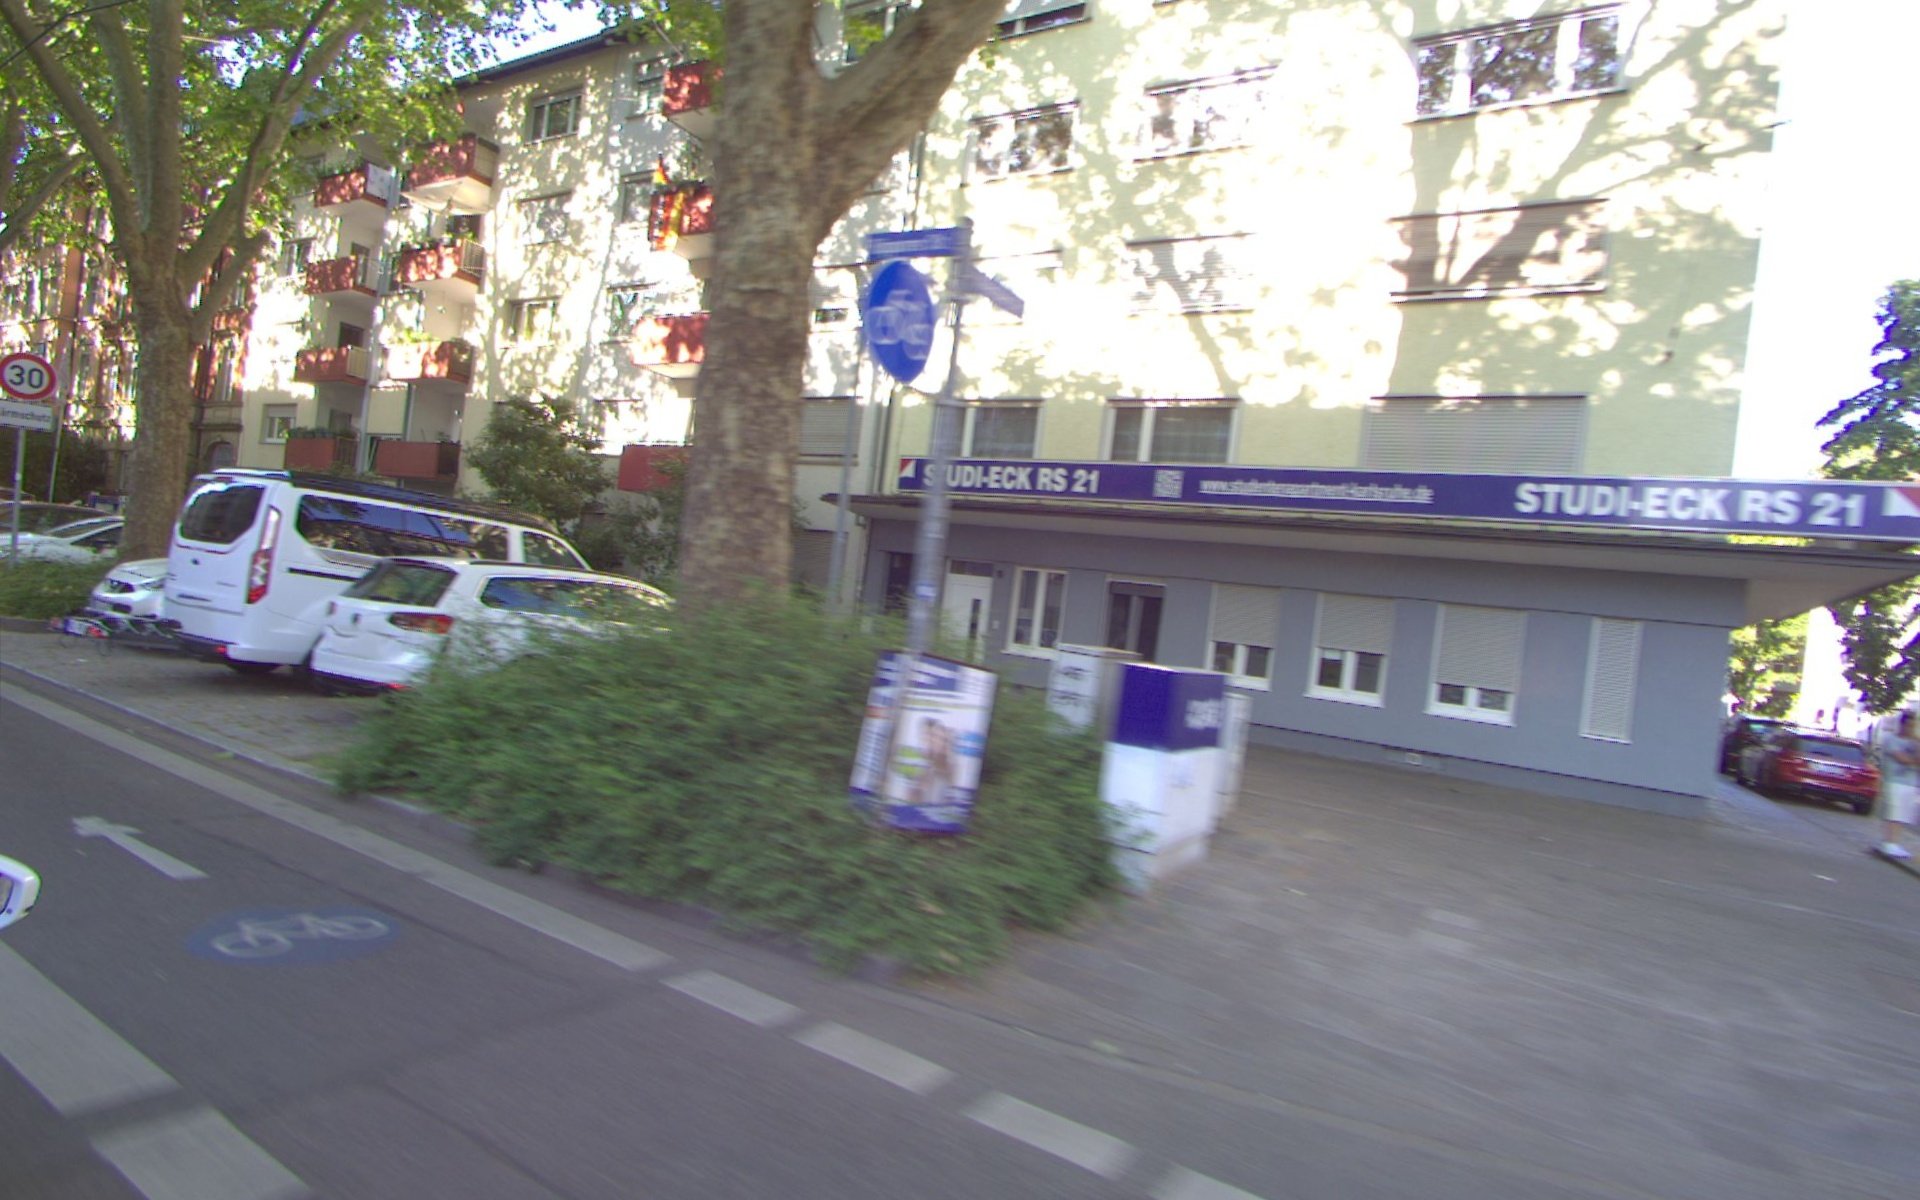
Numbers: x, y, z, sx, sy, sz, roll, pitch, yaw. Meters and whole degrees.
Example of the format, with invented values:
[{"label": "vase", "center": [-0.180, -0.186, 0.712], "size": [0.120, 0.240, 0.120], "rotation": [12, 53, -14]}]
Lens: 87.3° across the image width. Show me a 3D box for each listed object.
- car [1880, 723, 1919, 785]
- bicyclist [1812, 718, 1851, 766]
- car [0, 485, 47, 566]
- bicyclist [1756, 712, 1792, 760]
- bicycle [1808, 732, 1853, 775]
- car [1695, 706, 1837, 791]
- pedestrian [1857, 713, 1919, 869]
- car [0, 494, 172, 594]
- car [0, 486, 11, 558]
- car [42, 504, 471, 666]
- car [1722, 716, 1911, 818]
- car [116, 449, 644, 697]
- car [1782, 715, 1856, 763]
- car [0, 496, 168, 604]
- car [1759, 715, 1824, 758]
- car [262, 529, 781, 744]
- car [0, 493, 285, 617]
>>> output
[{"label": "car", "center": [31.172, 5.033, 32.009], "size": [1.968, 1.811, 4.136], "rotation": [9, 0, 34]}, {"label": "bicyclist", "center": [28.553, 4.638, 32.963], "size": [0.733, 1.419, 0.659], "rotation": [7, 2, 32]}, {"label": "car", "center": [-22.541, -1.871, 21.354], "size": [1.817, 1.686, 4.242], "rotation": [7, -1, 31]}, {"label": "bicyclist", "center": [28.372, 4.725, 35.084], "size": [0.733, 1.521, 0.785], "rotation": [7, 2, 31]}, {"label": "bicycle", "center": [28.535, 5.011, 33.006], "size": [0.733, 1.171, 1.792], "rotation": [7, 1, 32]}, {"label": "car", "center": [20.755, 3.750, 26.099], "size": [1.965, 1.625, 4.140], "rotation": [9, 0, 29]}, {"label": "pedestrian", "center": [10.876, 2.178, 11.517], "size": [0.655, 1.664, 0.747], "rotation": [7, 0, 33]}, {"label": "car", "center": [-17.261, -1.117, 18.445], "size": [1.731, 1.532, 3.994], "rotation": [7, -1, 31]}, {"label": "car", "center": [-24.395, -2.081, 22.649], "size": [1.694, 1.700, 3.994], "rotation": [7, -1, 30]}, {"label": "car", "center": [-8.401, -0.083, 12.411], "size": [1.694, 1.497, 3.905], "rotation": [7, -1, 29]}, {"label": "car", "center": [17.460, 3.329, 20.760], "size": [1.965, 1.439, 4.140], "rotation": [9, 0, 29]}, {"label": "car", "center": [-6.029, -0.128, 11.136], "size": [1.966, 2.101, 4.553], "rotation": [7, -1, 29]}, {"label": "car", "center": [40.784, 6.556, 47.862], "size": [1.968, 1.811, 4.136], "rotation": [9, 0, 34]}, {"label": "car", "center": [-15.774, -0.942, 16.295], "size": [1.899, 1.532, 4.150], "rotation": [7, -1, 31]}, {"label": "car", "center": [43.571, 7.113, 52.812], "size": [1.968, 1.811, 4.136], "rotation": [9, 0, 34]}, {"label": "car", "center": [-3.920, 0.411, 9.808], "size": [1.800, 1.497, 4.304], "rotation": [7, -1, 30]}, {"label": "car", "center": [-13.416, -0.702, 15.920], "size": [1.892, 1.497, 4.042], "rotation": [7, -1, 32]}]
